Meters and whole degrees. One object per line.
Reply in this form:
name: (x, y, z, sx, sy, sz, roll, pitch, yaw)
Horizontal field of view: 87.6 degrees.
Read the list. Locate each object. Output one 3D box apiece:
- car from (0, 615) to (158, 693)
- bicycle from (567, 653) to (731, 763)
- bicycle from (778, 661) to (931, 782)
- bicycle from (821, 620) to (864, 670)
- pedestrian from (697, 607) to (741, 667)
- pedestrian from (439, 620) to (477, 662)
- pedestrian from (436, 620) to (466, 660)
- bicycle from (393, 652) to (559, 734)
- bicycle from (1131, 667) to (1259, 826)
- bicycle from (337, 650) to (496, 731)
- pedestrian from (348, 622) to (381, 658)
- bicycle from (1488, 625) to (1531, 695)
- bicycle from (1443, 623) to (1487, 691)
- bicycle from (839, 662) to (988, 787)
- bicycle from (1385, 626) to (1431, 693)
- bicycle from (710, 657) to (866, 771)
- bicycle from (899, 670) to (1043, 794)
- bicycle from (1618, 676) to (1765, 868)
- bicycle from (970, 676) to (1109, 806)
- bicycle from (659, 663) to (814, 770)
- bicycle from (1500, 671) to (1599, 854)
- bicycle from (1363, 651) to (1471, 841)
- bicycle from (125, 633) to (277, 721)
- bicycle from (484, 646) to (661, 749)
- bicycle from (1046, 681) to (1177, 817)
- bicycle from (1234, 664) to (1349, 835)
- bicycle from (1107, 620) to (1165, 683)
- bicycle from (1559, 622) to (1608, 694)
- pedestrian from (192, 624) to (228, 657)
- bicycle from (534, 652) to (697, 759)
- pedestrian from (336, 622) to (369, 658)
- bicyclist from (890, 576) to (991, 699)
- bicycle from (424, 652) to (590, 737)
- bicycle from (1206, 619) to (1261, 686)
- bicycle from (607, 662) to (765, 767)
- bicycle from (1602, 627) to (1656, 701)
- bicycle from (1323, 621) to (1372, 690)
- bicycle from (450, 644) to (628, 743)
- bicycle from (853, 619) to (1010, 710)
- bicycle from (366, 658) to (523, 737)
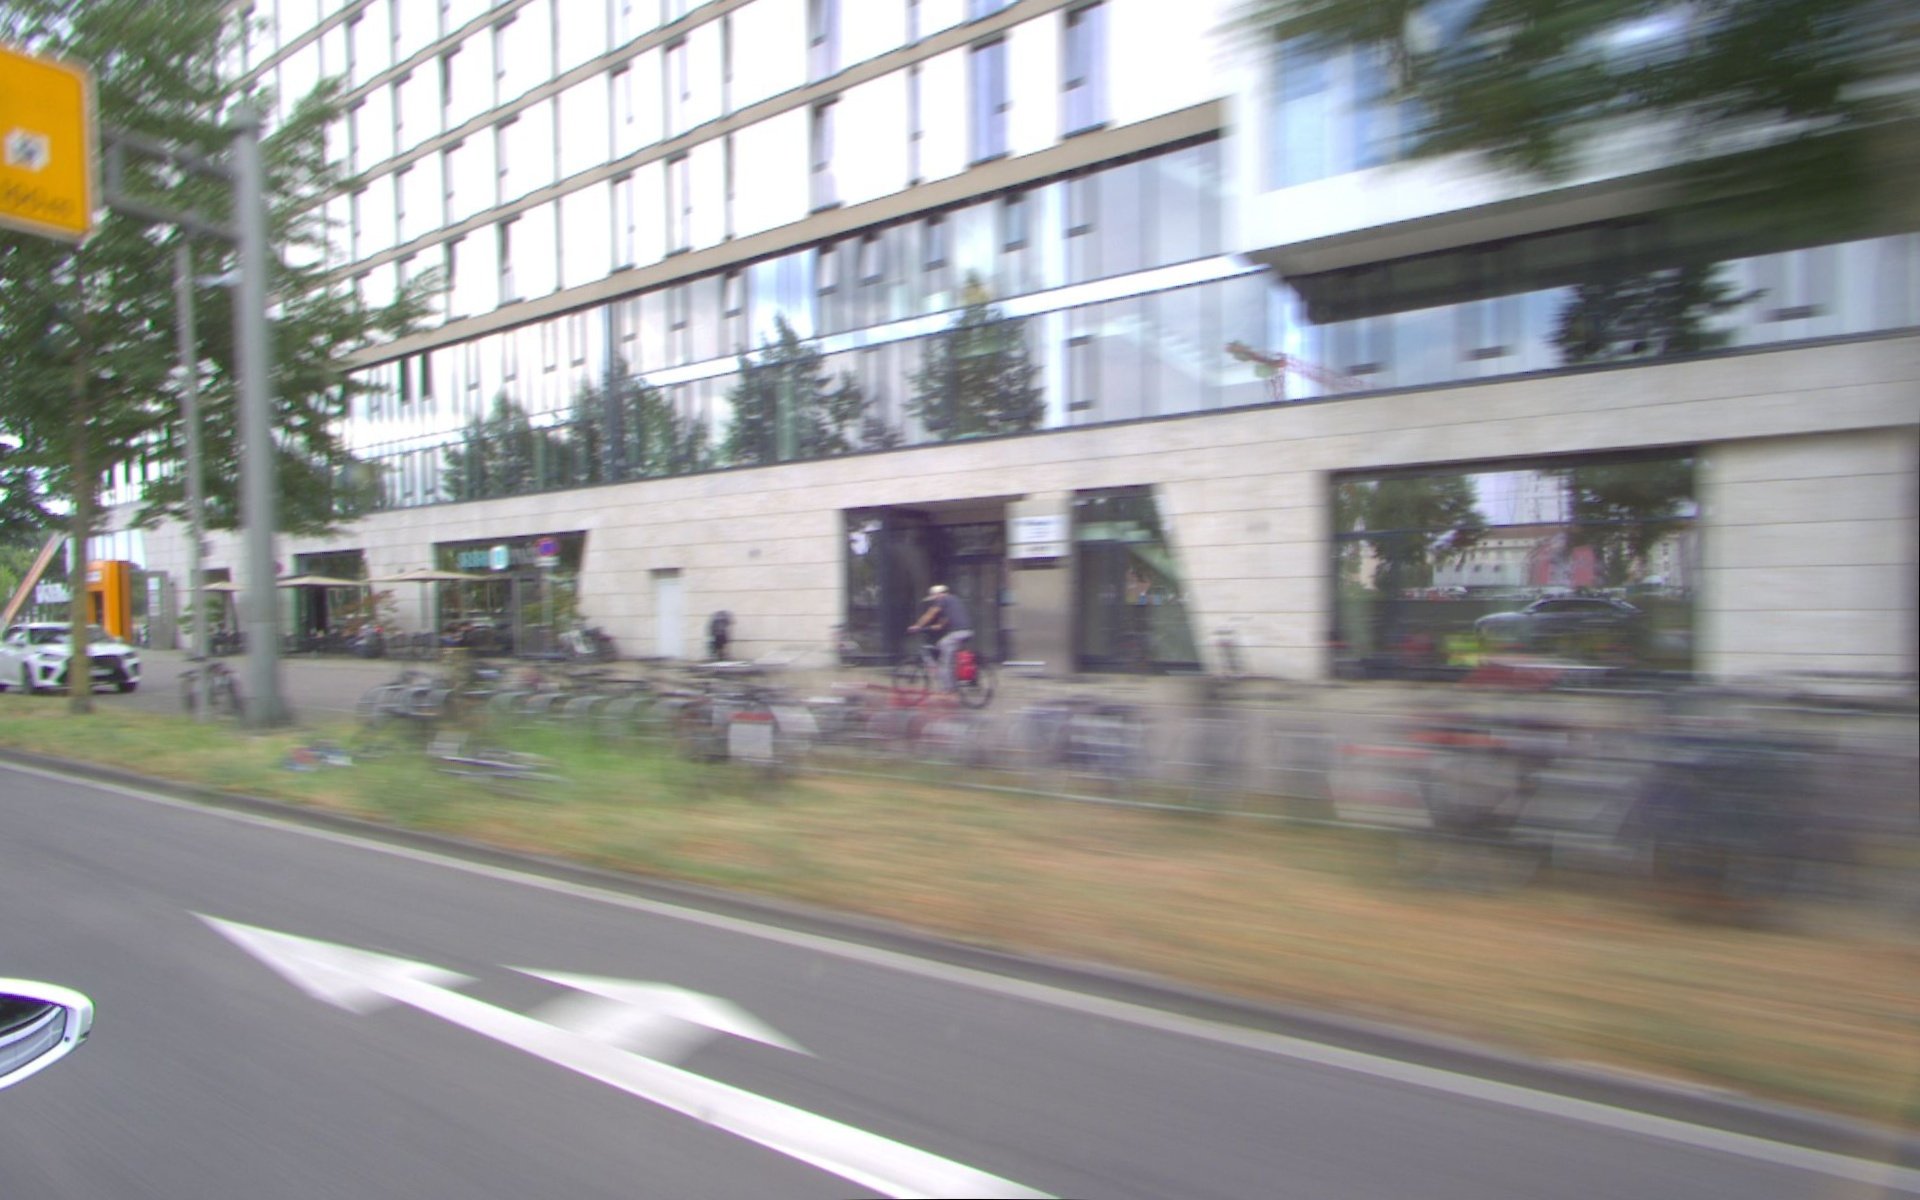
car: (-20.250, 1.157, 22.650, 4.528, 1.572, 1.934, -1, 0, 33)
bicycle: (-3.320, 1.127, 10.892, 0.535, 1.078, 1.932, 0, -3, 24)
bicycle: (-0.921, 1.066, 9.239, 0.599, 0.986, 1.745, 0, -3, 24)
bicycle: (-2.633, 0.990, 22.517, 0.599, 1.040, 1.602, -1, 0, 6)
pedestrian: (-5.906, 0.890, 24.549, 0.712, 1.425, 0.753, 0, 1, 40)
pedestrian: (-15.068, 1.209, 30.044, 0.767, 1.208, 1.096, -1, 0, -42)
pedestrian: (-15.886, 1.240, 31.240, 0.712, 1.208, 0.754, -1, 0, -35)
bicycle: (-6.161, 1.168, 12.861, 0.643, 0.963, 1.860, -1, -3, 30)
bicycle: (1.800, 1.019, 7.482, 0.600, 1.024, 1.774, 0, -3, 24)
bicycle: (-7.337, 1.205, 13.611, 0.565, 1.007, 1.860, -1, -3, 30)
pedestrian: (-20.506, 1.366, 34.468, 0.748, 1.208, 0.716, -1, 0, 35)
bicycle: (8.311, 0.886, 15.128, 0.525, 0.966, 1.527, -1, 0, 30)
bicycle: (7.817, 0.853, 15.464, 0.525, 0.966, 1.527, -1, 0, 30)
bicycle: (-0.367, 1.049, 8.918, 0.599, 0.986, 1.716, 0, -3, 24)
bicycle: (7.122, 0.919, 15.885, 0.525, 0.966, 1.527, -1, 0, 30)
bicycle: (-1.613, 1.059, 9.694, 0.599, 0.986, 1.745, 0, -3, 24)
bicycle: (0.142, 1.061, 8.505, 0.579, 0.917, 1.716, 0, -3, 24)
bicycle: (4.407, 0.974, 6.115, 0.544, 0.965, 1.528, 0, -2, 30)
bicycle: (0.700, 1.096, 8.215, 0.579, 0.917, 1.716, 0, -3, 24)
bicycle: (-2.239, 1.142, 10.264, 0.599, 0.986, 1.745, 0, -3, 24)
bicycle: (3.678, 0.948, 6.287, 0.477, 0.965, 1.528, 0, -2, 29)
bicycle: (3.102, 0.899, 6.734, 0.517, 1.104, 1.667, 0, -2, 29)
bicycle: (-10.447, 1.028, 13.773, 2.167, 1.129, 0.710, -1, -3, 25)
bicycle: (-4.417, 1.091, 11.573, 0.632, 1.078, 1.929, -1, -3, 30)
bicycle: (1.249, 1.121, 7.951, 0.579, 0.917, 1.716, 0, -3, 24)
bicycle: (2.421, 0.991, 7.187, 0.600, 1.025, 1.773, 0, -2, 24)
bicycle: (3.195, 0.906, 18.093, 0.525, 1.040, 1.595, -1, 1, 29)
bicycle: (9.119, 0.829, 14.673, 0.525, 0.966, 1.527, -1, 0, 30)
pedestrian: (-29.044, 1.558, 38.790, 0.938, 1.244, 0.894, -1, 0, 38)
bicycle: (-3.792, 1.141, 11.215, 0.535, 1.078, 1.932, 0, -3, 24)
pedestrian: (-21.201, 1.389, 34.939, 0.748, 1.208, 0.717, -1, 0, 32)
bicyclist: (-0.290, 0.546, 15.206, 1.113, 1.761, 0.994, -1, 3, 32)
bicycle: (-5.568, 1.146, 12.432, 0.603, 0.963, 1.860, -1, -3, 30)
bicycle: (4.698, 0.878, 17.143, 0.525, 1.040, 1.595, -1, 1, 29)
bicycle: (-2.818, 1.153, 10.493, 0.599, 0.986, 1.745, 0, -3, 24)
bicycle: (9.595, 0.886, 14.393, 0.525, 0.966, 1.527, -1, 0, 30)
bicycle: (6.363, 0.885, 16.420, 0.525, 1.040, 1.527, -1, 0, 30)
bicycle: (-5.004, 1.092, 12.048, 0.694, 1.078, 1.929, -1, -3, 30)
bicycle: (-0.452, 0.953, 15.293, 2.235, 1.252, 0.899, -1, 3, 32)
bicycle: (-6.775, 1.260, 13.270, 0.494, 0.963, 1.860, -1, -3, 30)
